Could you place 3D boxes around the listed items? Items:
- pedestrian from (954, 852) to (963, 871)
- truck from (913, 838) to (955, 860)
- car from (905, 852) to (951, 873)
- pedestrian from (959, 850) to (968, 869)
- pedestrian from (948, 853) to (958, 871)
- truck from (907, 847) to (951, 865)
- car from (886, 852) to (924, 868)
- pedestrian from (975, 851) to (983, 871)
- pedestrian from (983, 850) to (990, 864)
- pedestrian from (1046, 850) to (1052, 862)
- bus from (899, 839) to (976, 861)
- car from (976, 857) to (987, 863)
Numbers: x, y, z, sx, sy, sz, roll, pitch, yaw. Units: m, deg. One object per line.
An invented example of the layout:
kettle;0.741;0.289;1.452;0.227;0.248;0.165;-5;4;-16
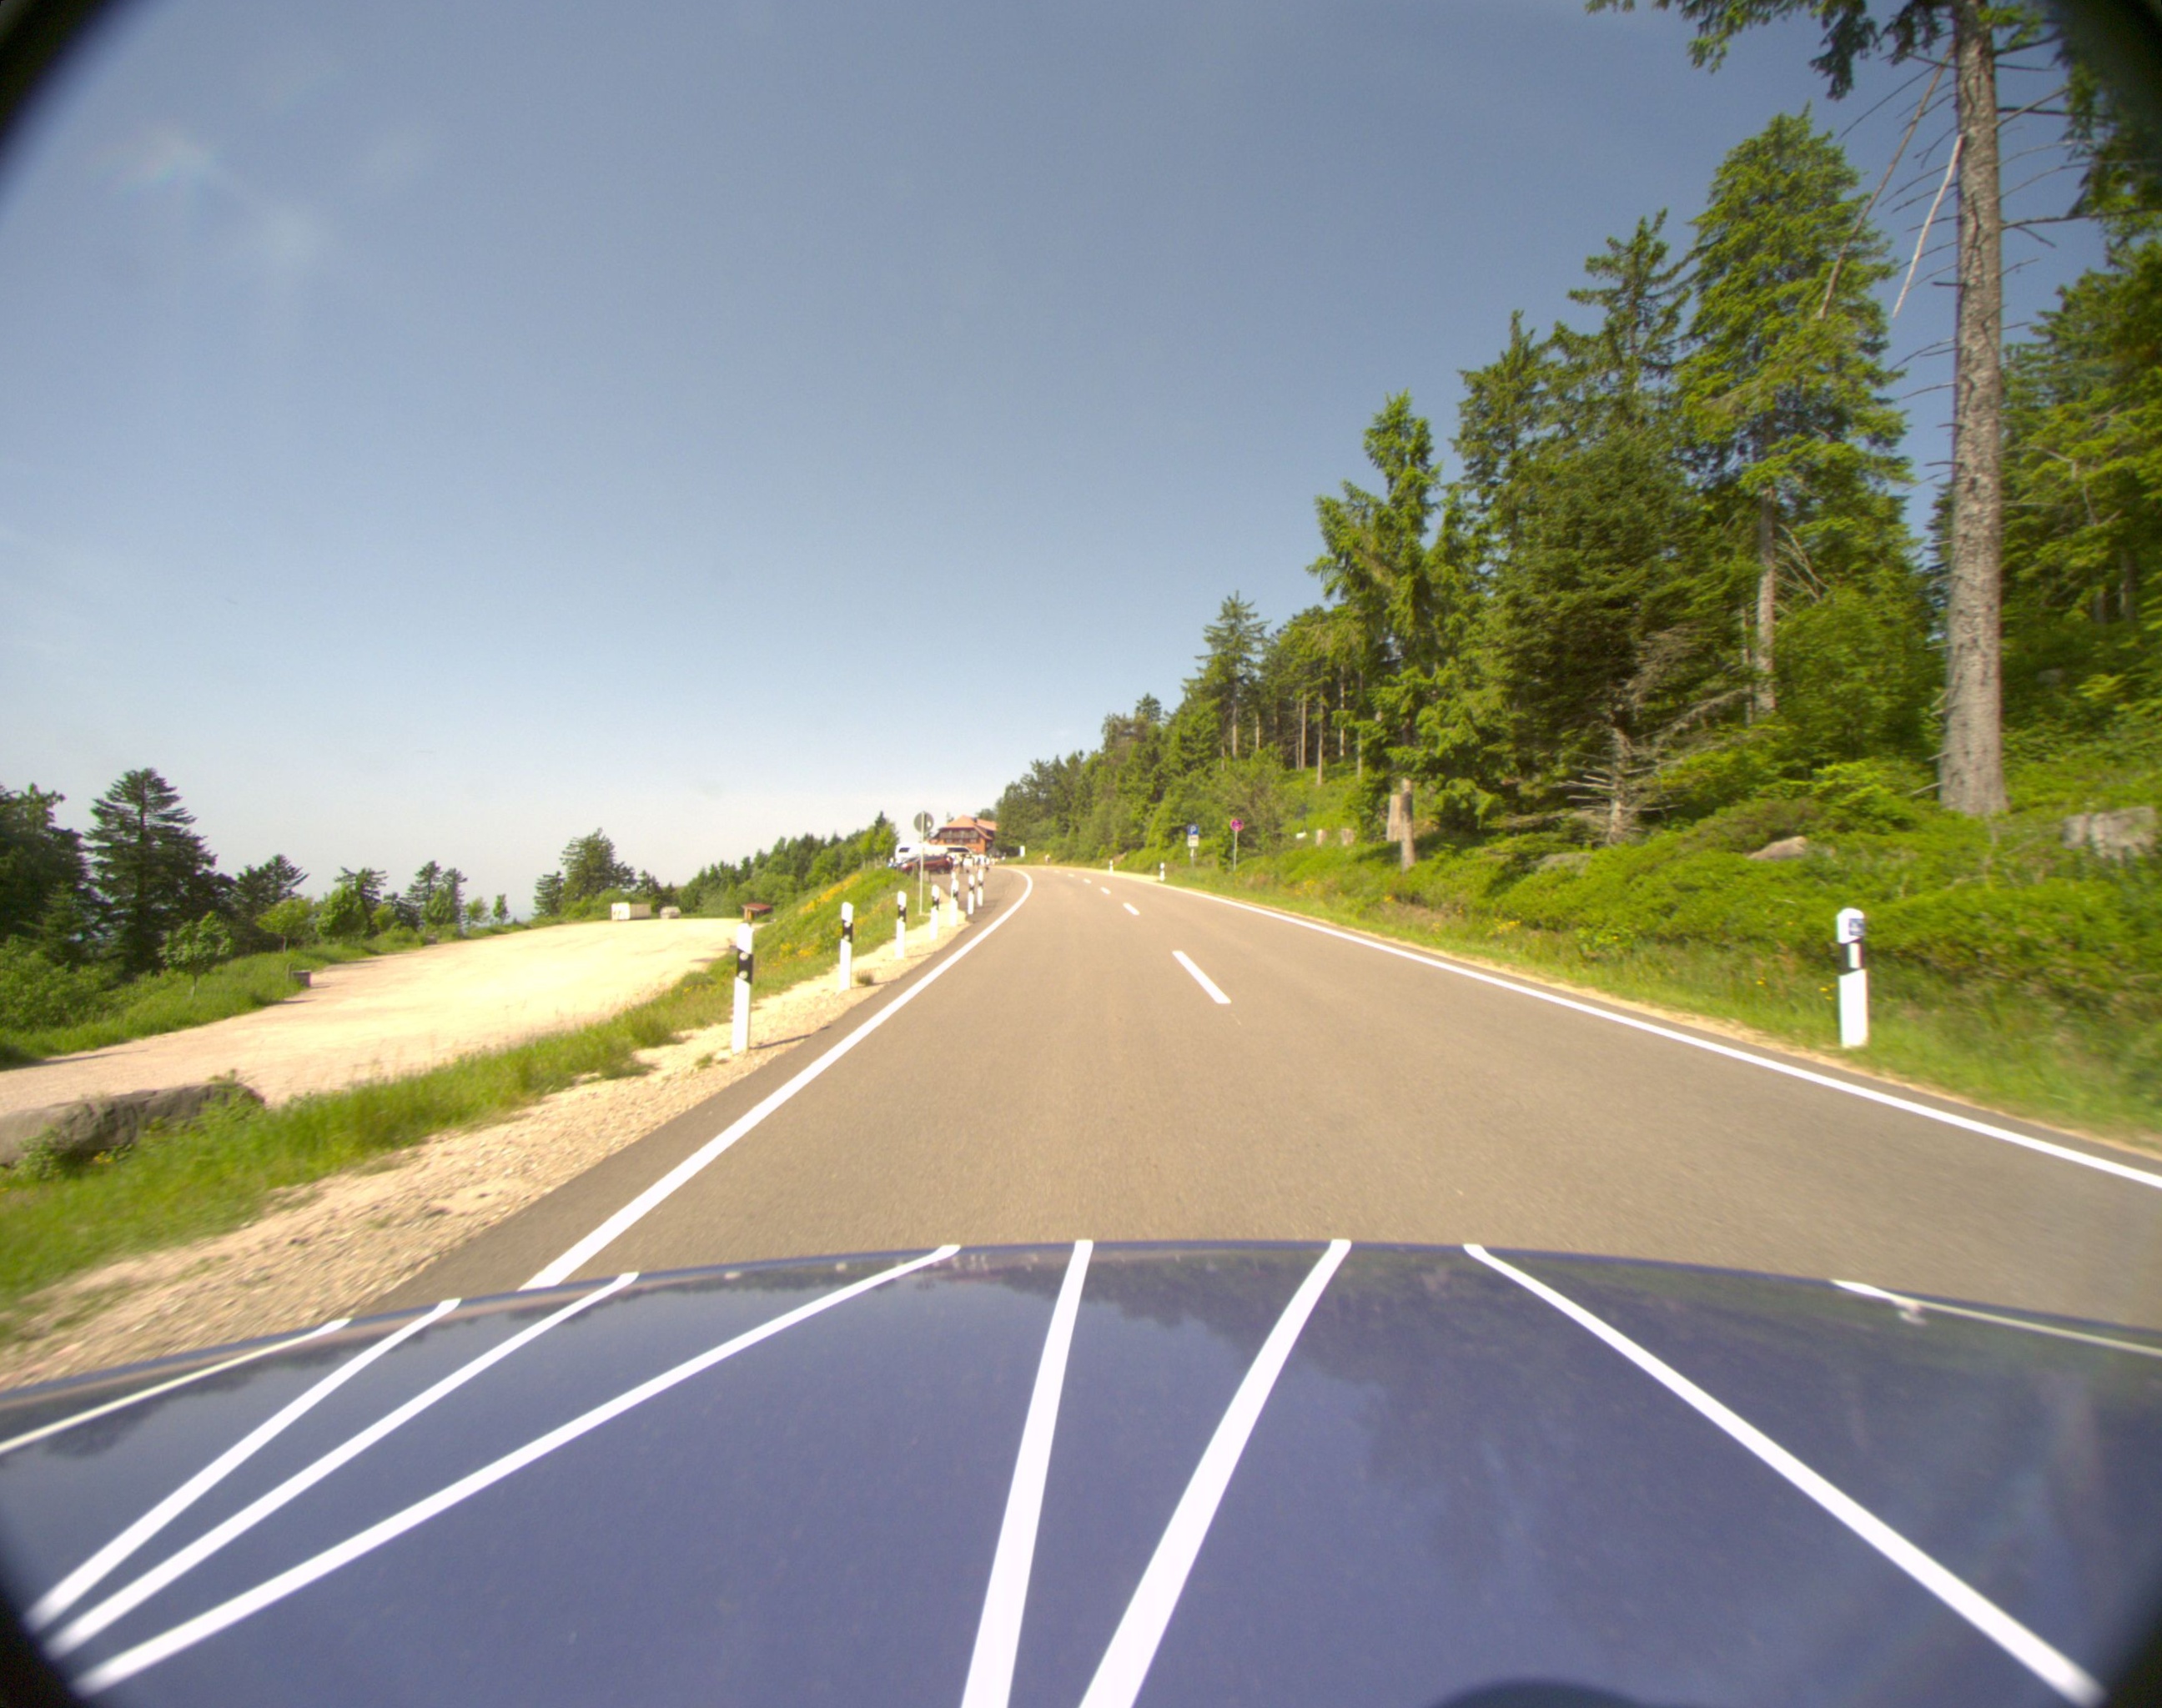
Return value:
pedestrian;-10.760;0.644;66.622;0.654;1.650;0.688;1;-1;2
truck;-22.325;-0.727;115.329;6.086;3.177;2.529;0;0;-14
car;-13.313;0.725;66.069;3.831;1.651;1.650;-2;1;-16
pedestrian;-10.566;0.474;68.182;0.718;1.682;0.618;0;1;-4
pedestrian;-11.421;0.693;67.732;0.618;1.577;0.736;1;-1;8
truck;-22.341;0.315;111.894;6.283;2.575;2.338;0;0;-11
car;-19.338;0.642;83.546;4.002;1.637;1.598;-2;1;-15
pedestrian;-9.155;0.586;68.020;0.618;1.765;0.723;0;1;-4
pedestrian;-11.869;0.436;95.398;0.755;1.750;0.775;0;0;2
pedestrian;-4.687;0.351;112.891;0.685;1.736;0.824;0;0;-19
bus;-24.520;-0.641;130.414;12.891;3.556;2.836;0;0;-11
car;-27.482;1.710;210.332;1.711;1.543;3.139;0;-1;18
